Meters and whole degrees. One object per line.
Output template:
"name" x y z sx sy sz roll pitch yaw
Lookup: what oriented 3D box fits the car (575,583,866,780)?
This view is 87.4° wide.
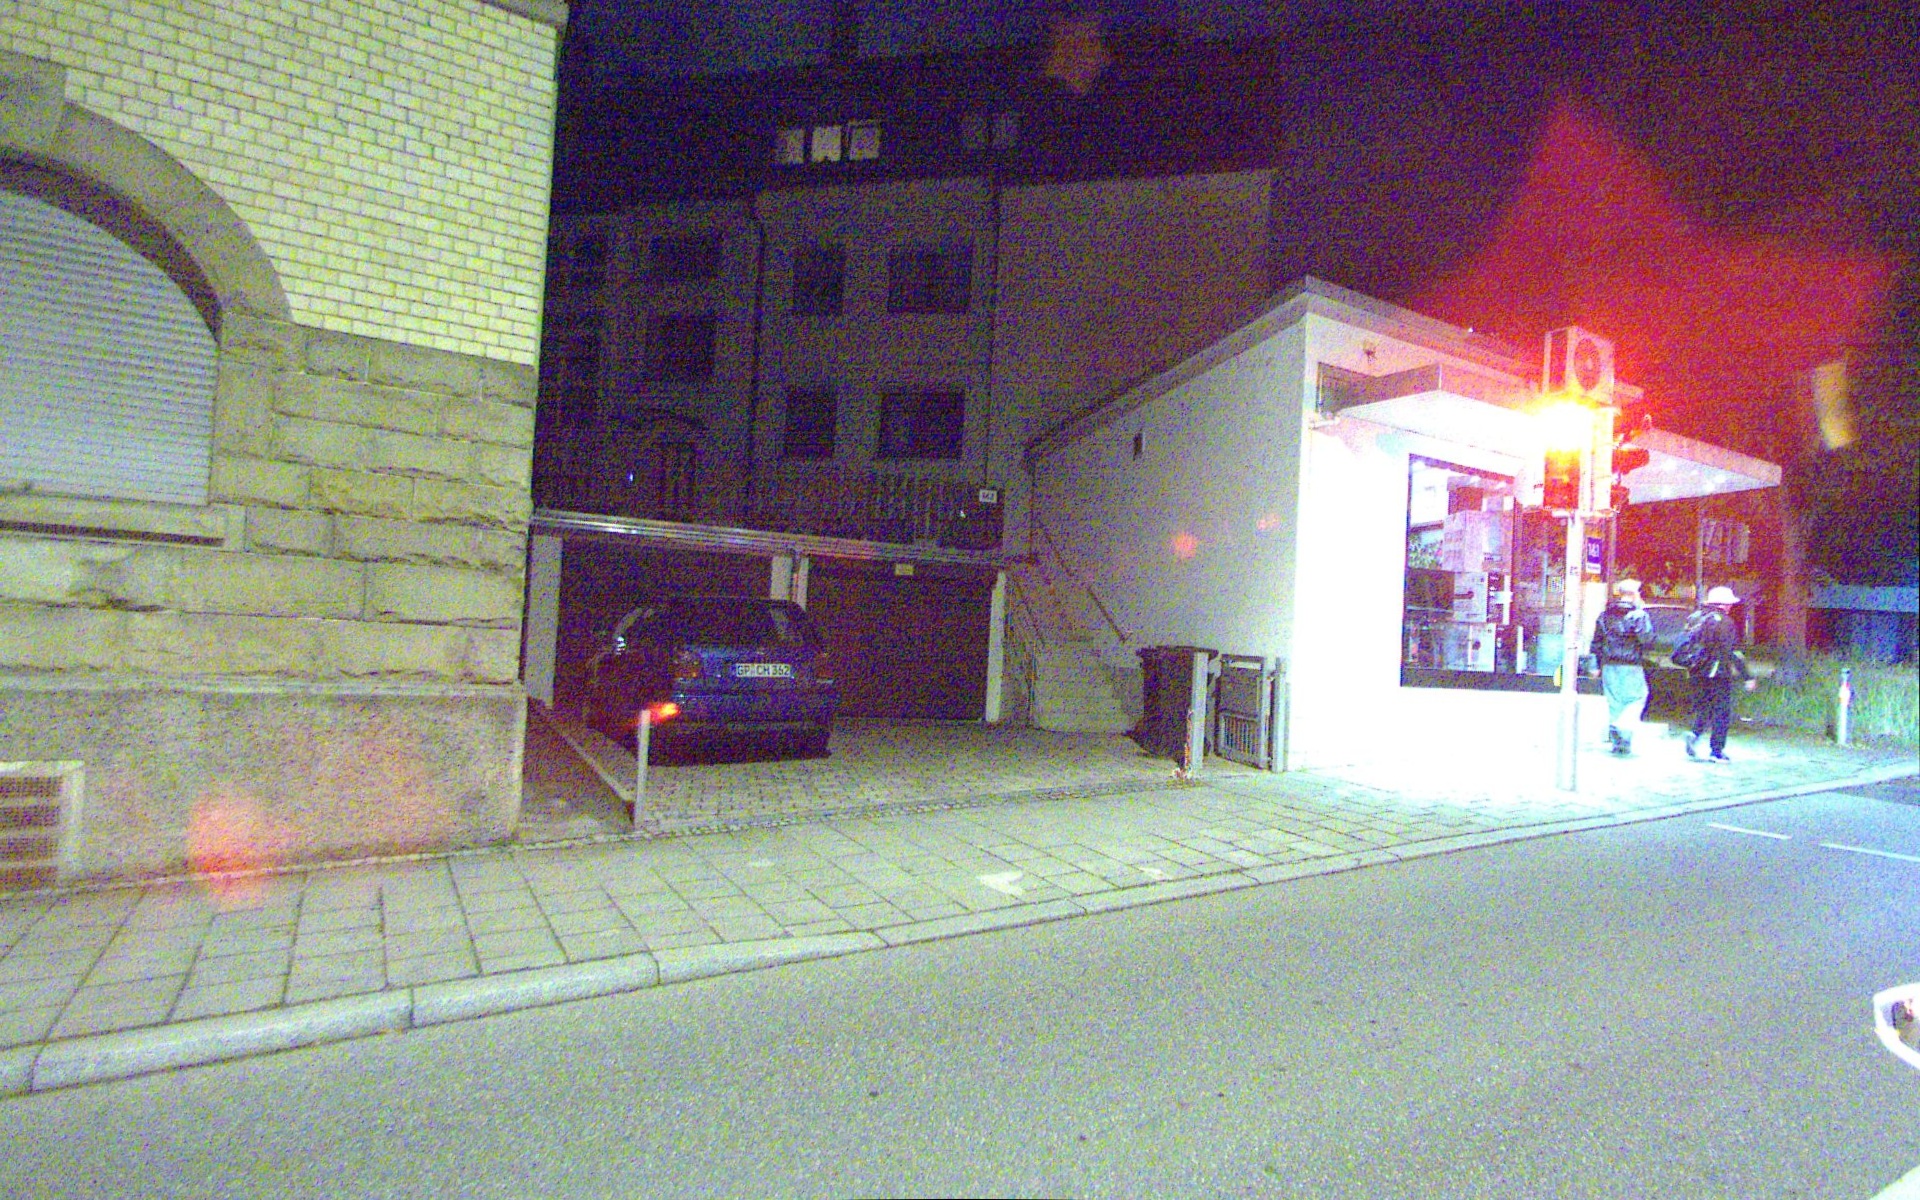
"car" -2.448 0.609 9.568 1.700 1.460 3.631 2 0 -30

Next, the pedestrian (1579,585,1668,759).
"pedestrian" 6.946 0.729 10.520 0.537 1.754 0.567 2 0 -30

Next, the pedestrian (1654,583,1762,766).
"pedestrian" 7.684 0.742 10.326 0.729 1.801 0.567 2 2 -30
